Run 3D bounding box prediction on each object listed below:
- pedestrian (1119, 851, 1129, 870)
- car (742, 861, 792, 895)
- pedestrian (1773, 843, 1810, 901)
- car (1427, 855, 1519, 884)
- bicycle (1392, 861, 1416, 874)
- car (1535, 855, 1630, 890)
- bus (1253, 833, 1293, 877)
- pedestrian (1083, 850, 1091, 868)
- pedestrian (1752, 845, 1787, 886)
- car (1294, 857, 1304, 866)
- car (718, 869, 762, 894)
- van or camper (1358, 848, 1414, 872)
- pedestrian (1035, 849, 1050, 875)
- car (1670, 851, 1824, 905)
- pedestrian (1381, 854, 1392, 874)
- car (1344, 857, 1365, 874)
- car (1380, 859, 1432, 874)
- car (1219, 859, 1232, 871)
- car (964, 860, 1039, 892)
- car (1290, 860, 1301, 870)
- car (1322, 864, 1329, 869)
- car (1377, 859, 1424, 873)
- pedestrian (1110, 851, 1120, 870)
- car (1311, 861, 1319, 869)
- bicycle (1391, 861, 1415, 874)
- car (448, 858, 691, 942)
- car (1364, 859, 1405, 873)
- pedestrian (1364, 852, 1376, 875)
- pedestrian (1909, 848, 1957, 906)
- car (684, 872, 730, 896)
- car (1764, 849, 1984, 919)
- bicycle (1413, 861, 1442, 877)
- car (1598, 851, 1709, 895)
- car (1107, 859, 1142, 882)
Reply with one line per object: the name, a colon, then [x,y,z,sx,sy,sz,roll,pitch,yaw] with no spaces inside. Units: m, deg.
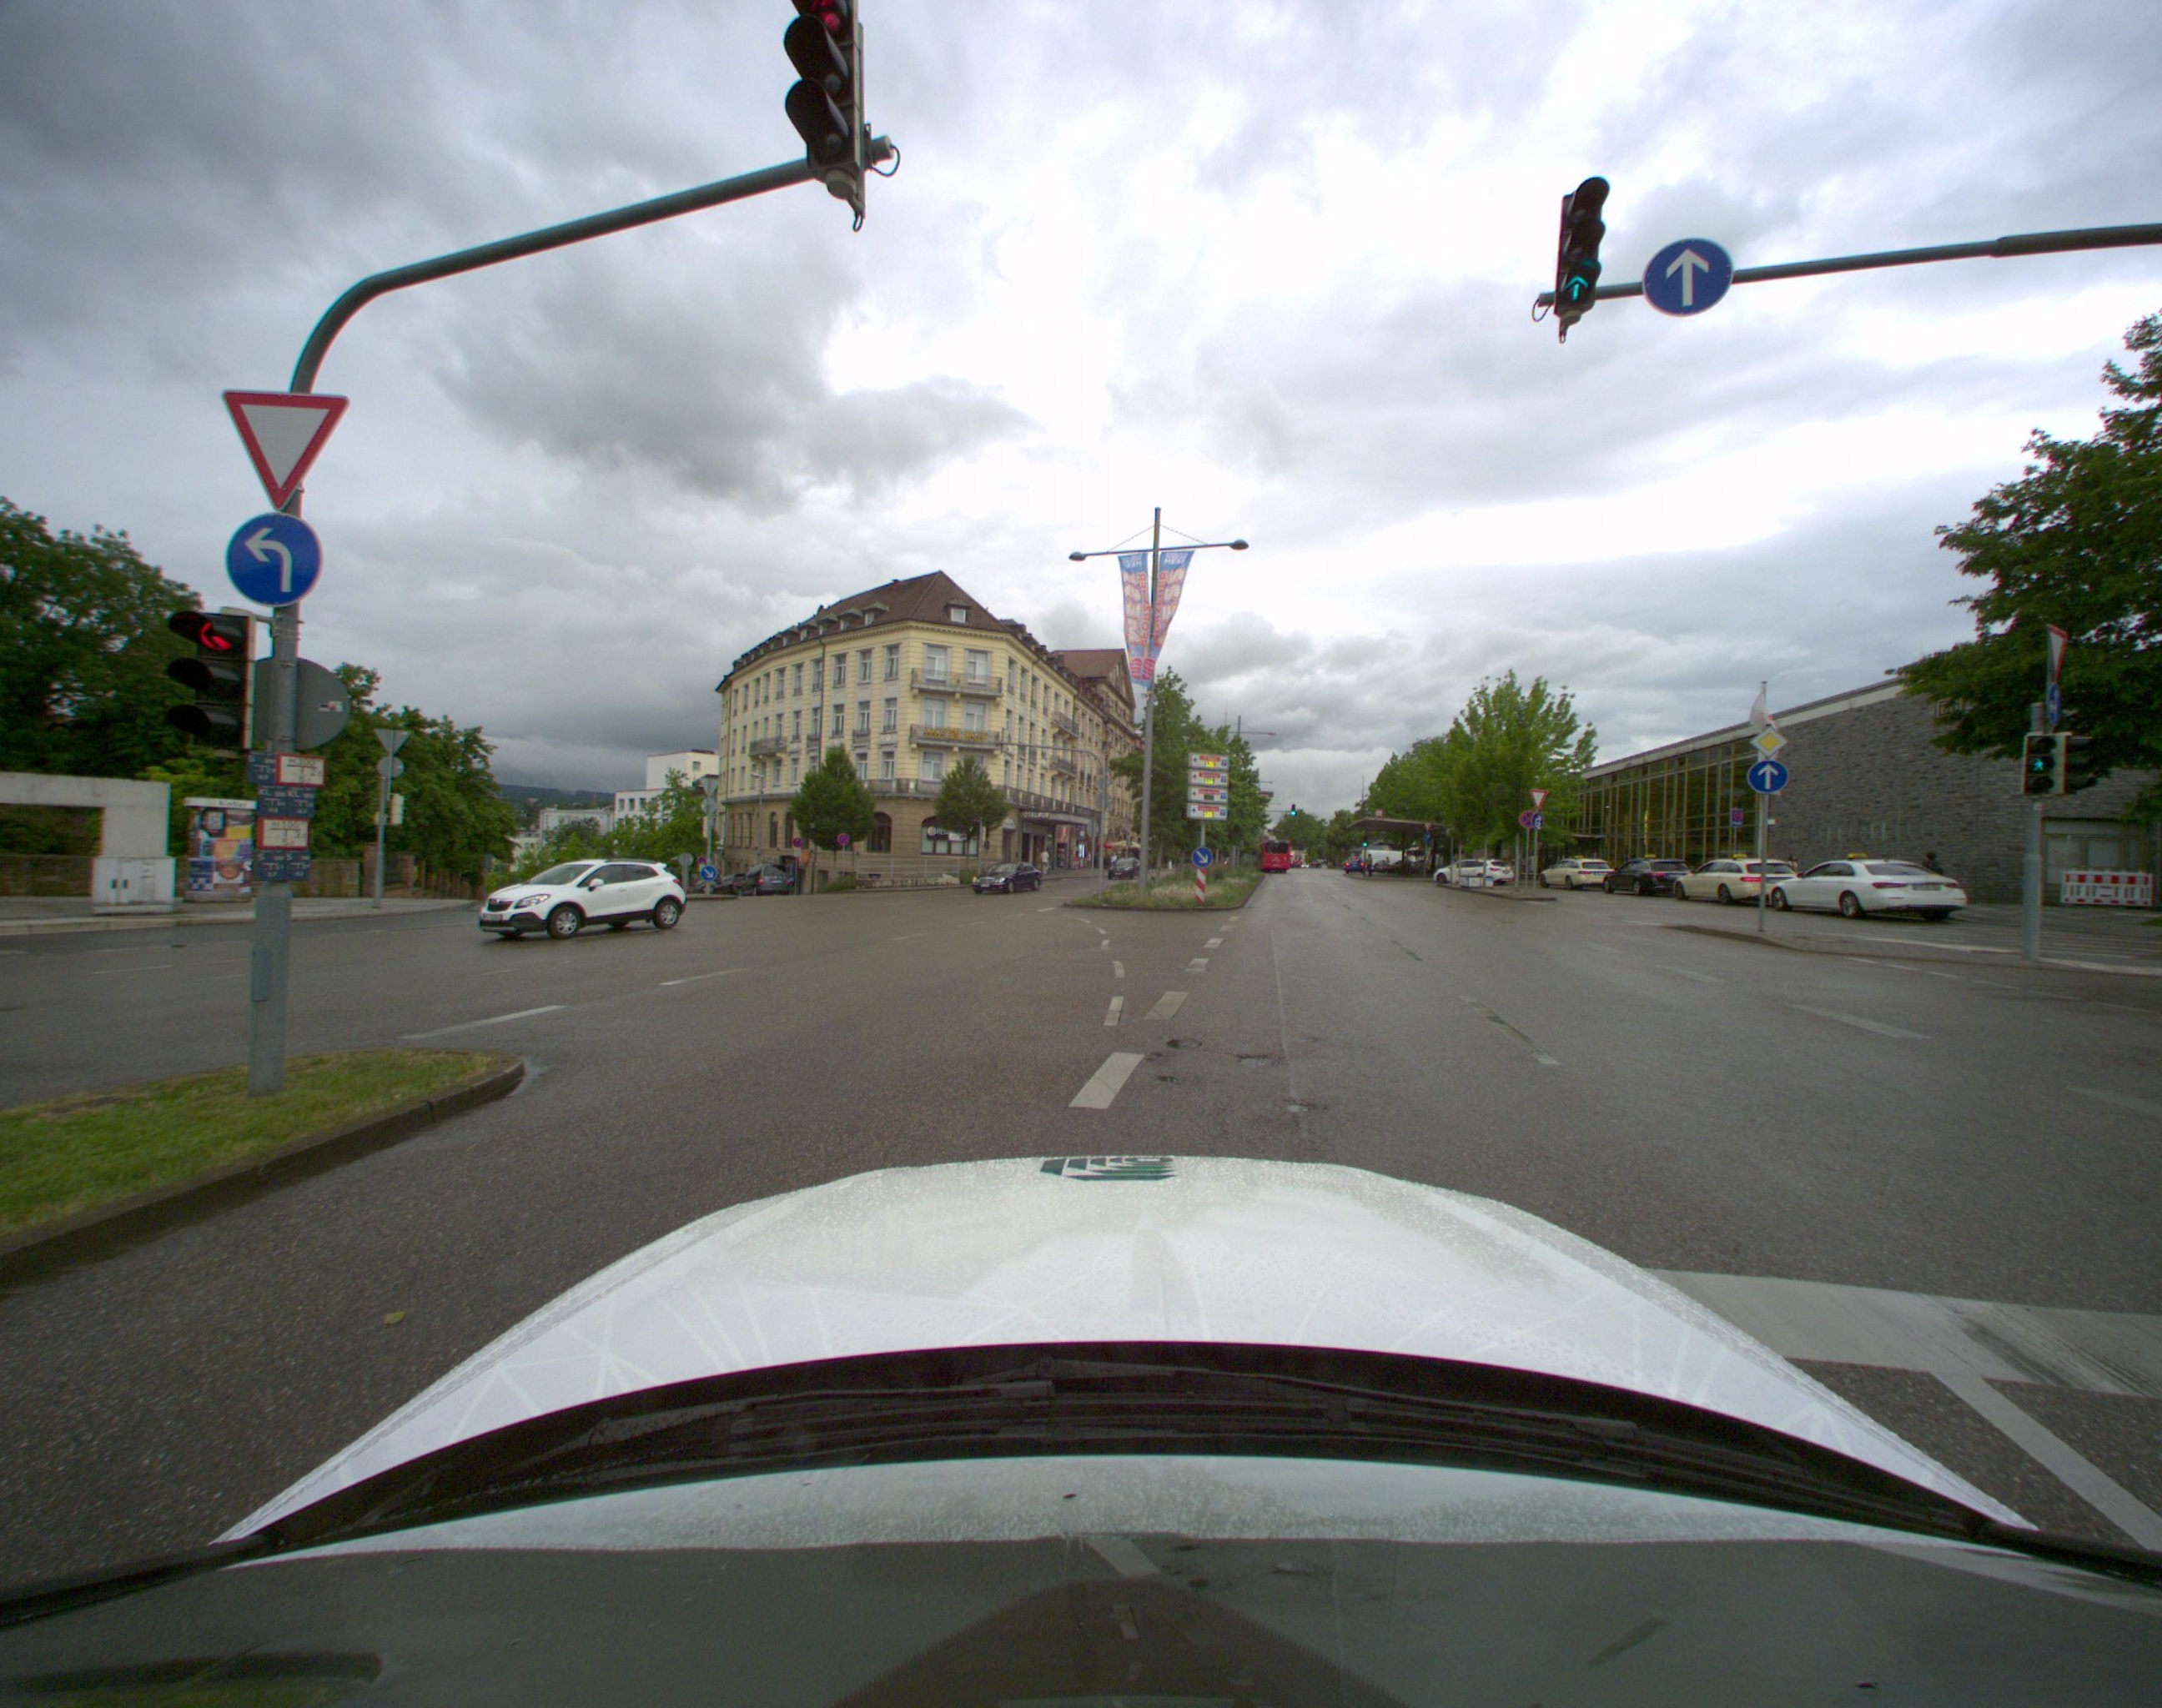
pedestrian: [3.828,0.610,72.001,0.676,1.664,0.810,-1,-1,14]
car: [-17.323,1.291,44.838,1.642,1.759,3.956,0,0,-36]
pedestrian: [26.803,0.675,30.747,0.788,2.164,0.726,-1,-1,18]
car: [22.327,0.881,46.581,1.766,1.546,4.737,1,-1,-25]
bicycle: [26.388,1.126,66.482,1.824,1.056,0.420,0,-1,-4]
car: [24.049,0.851,39.326,1.983,1.599,4.967,-1,0,7]
bus: [18.968,0.185,80.934,3.521,3.980,11.206,-1,-1,12]
pedestrian: [0.561,0.435,76.109,0.663,1.664,0.537,-1,-1,6]
pedestrian: [27.450,0.461,32.479,0.764,1.580,0.713,-1,-1,10]
car: [48.699,1.662,182.022,1.979,2.014,4.015,-1,-1,14]
car: [-20.986,1.638,50.076,1.642,1.398,3.956,0,0,-36]
van or camper: [36.076,0.664,96.433,5.953,2.763,2.189,0,-1,-13]
pedestrian: [-2.698,0.552,57.392,0.873,1.813,0.753,-1,-1,14]
car: [21.519,0.727,26.625,1.979,1.599,4.977,-1,0,15]
pedestrian: [29.293,0.962,78.135,0.850,1.835,1.194,0,-1,14]
car: [27.097,1.150,80.710,1.844,1.569,4.018,0,-1,18]
car: [30.531,1.161,76.635,4.179,1.325,1.836,1,-1,-6]
car: [26.599,2.020,149.847,1.978,2.014,5.022,-1,-1,16]
car: [-3.645,1.007,37.874,1.939,1.422,4.019,-1,-1,19]
car: [44.013,2.335,167.170,1.979,2.014,4.015,-1,-1,14]
car: [70.035,3.570,233.178,1.633,1.661,3.664,-1,-1,14]
car: [31.462,1.200,80.195,3.995,1.359,1.854,1,-1,-16]
pedestrian: [2.989,0.619,72.194,0.676,1.664,0.810,-1,-1,17]
car: [52.043,2.434,181.342,1.583,1.561,3.664,-1,-1,14]
bicycle: [26.461,1.129,66.950,1.824,1.056,0.420,0,-1,-4]
car: [-11.077,0.922,18.027,1.939,1.618,4.230,-1,-1,21]
car: [33.819,1.327,90.723,3.990,1.443,1.857,1,-1,-12]
pedestrian: [22.286,0.762,62.815,0.742,1.747,0.837,0,-1,6]
pedestrian: [24.592,0.650,23.508,0.725,1.626,0.790,0,-1,-30]
car: [-24.756,1.967,53.802,1.779,1.478,3.953,0,-1,-40]
car: [20.139,0.721,21.055,1.866,1.599,4.922,-1,-1,15]
bicycle: [24.727,1.072,58.116,1.814,1.056,0.422,-1,-1,14]
car: [23.017,0.721,33.005,1.980,1.599,4.976,1,0,13]
car: [3.011,1.113,56.118,1.665,1.512,3.878,-1,-1,14]
